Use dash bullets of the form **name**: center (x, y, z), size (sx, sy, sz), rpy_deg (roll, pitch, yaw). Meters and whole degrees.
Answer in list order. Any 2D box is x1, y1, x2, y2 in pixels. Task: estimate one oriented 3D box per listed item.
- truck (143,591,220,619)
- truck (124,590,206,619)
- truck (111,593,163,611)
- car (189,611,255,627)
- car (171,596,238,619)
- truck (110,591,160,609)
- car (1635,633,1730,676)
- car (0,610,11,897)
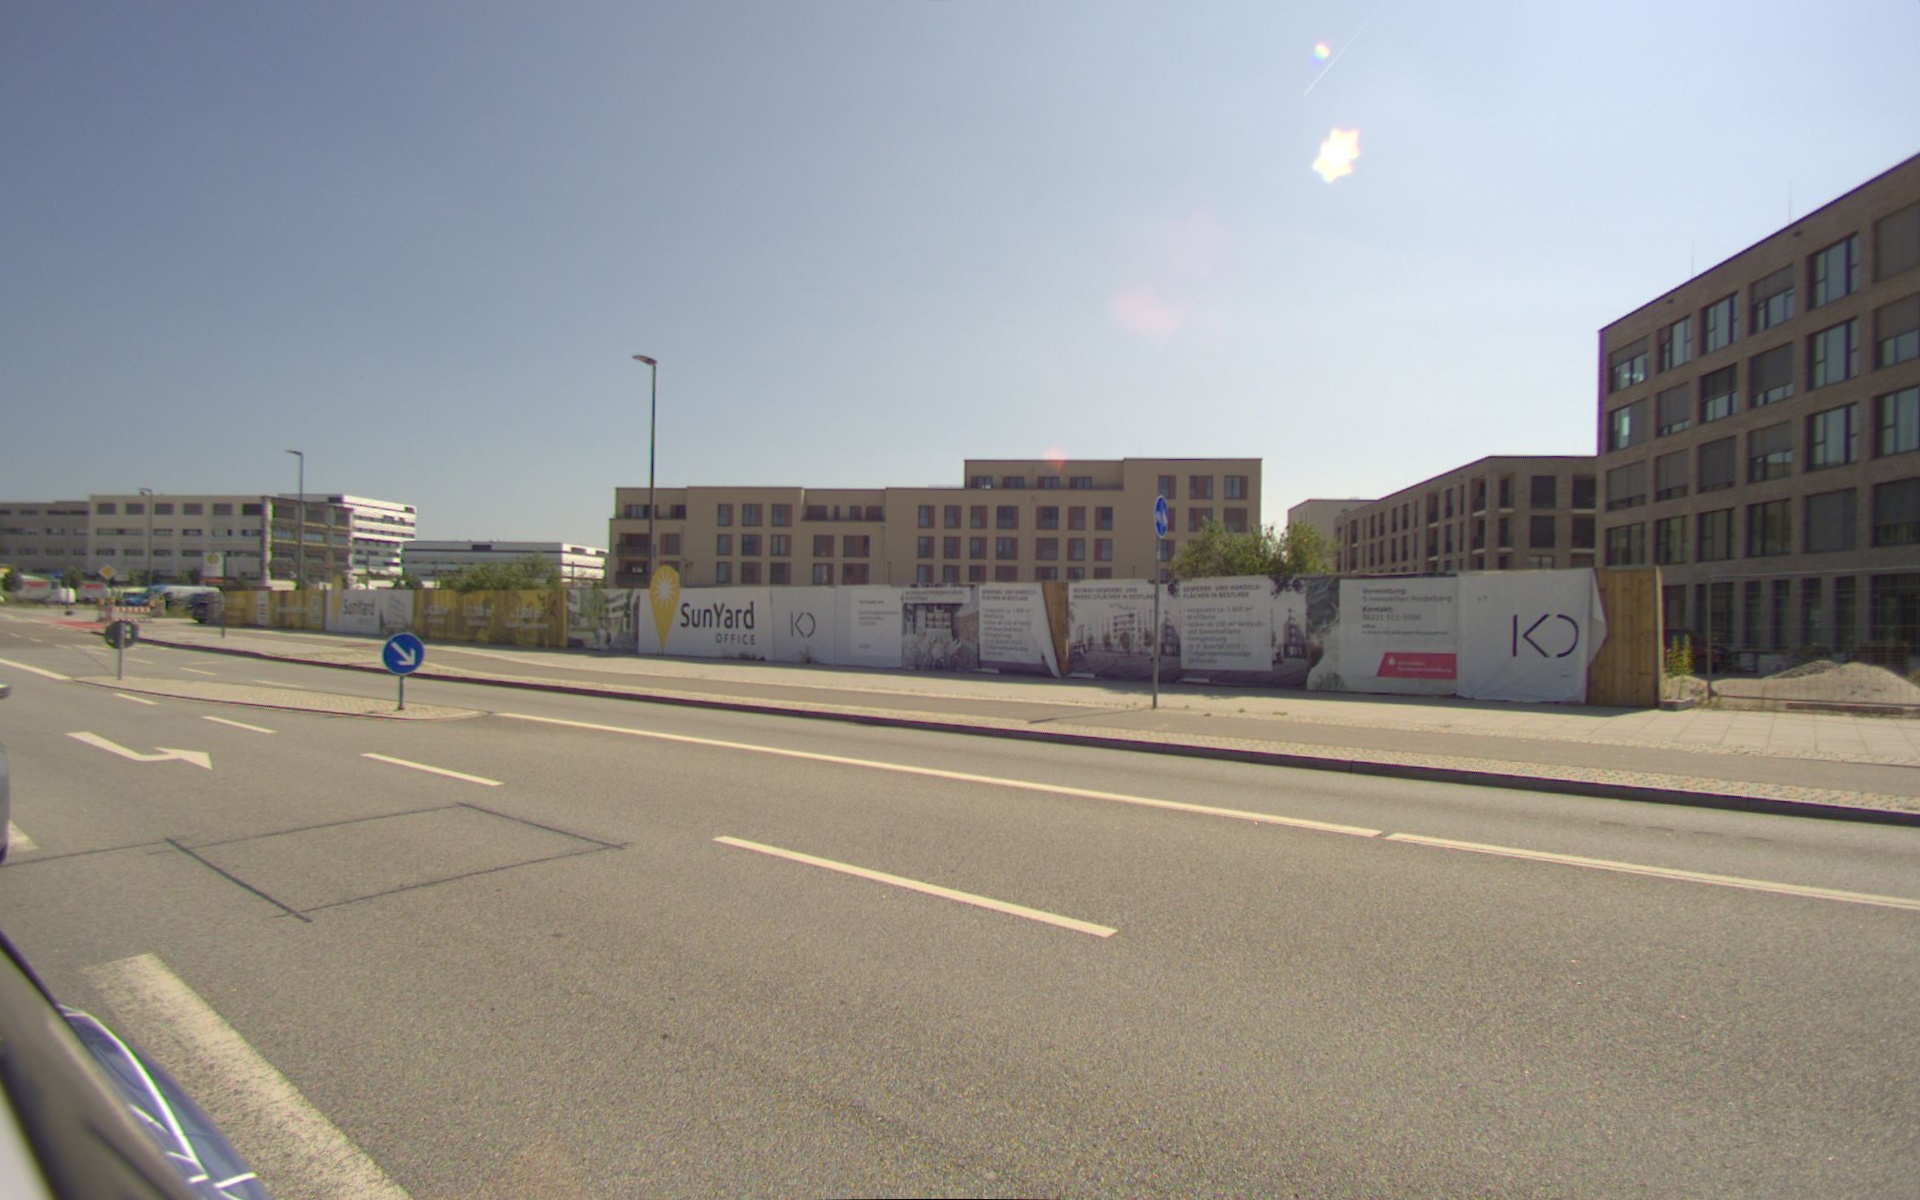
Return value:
- **truck**: center (-67.082, 0.402, 87.266), size (1.998, 2.245, 4.942), rpy_deg (0, 1, 39)
- **truck**: center (-72.473, 0.363, 92.363), size (1.996, 2.494, 5.567), rpy_deg (0, 1, 36)
- **truck**: center (-114.923, 0.266, 141.369), size (1.996, 2.494, 5.270), rpy_deg (0, 1, 36)
- **car**: center (-48.360, 1.222, 66.333), size (1.293, 0.960, 3.315), rpy_deg (0, 1, 43)
- **car**: center (-60.308, 0.582, 80.796), size (1.888, 1.731, 3.885), rpy_deg (0, 1, 35)
- **truck**: center (-120.253, -0.032, 147.536), size (1.998, 2.494, 5.346), rpy_deg (0, 1, 38)
- **car**: center (32.010, 2.384, 44.977), size (1.814, 1.666, 3.772), rpy_deg (0, 0, 7)
- **car**: center (-7.145, 0.810, 6.007), size (4.345, 1.478, 1.796), rpy_deg (0, 1, 41)
